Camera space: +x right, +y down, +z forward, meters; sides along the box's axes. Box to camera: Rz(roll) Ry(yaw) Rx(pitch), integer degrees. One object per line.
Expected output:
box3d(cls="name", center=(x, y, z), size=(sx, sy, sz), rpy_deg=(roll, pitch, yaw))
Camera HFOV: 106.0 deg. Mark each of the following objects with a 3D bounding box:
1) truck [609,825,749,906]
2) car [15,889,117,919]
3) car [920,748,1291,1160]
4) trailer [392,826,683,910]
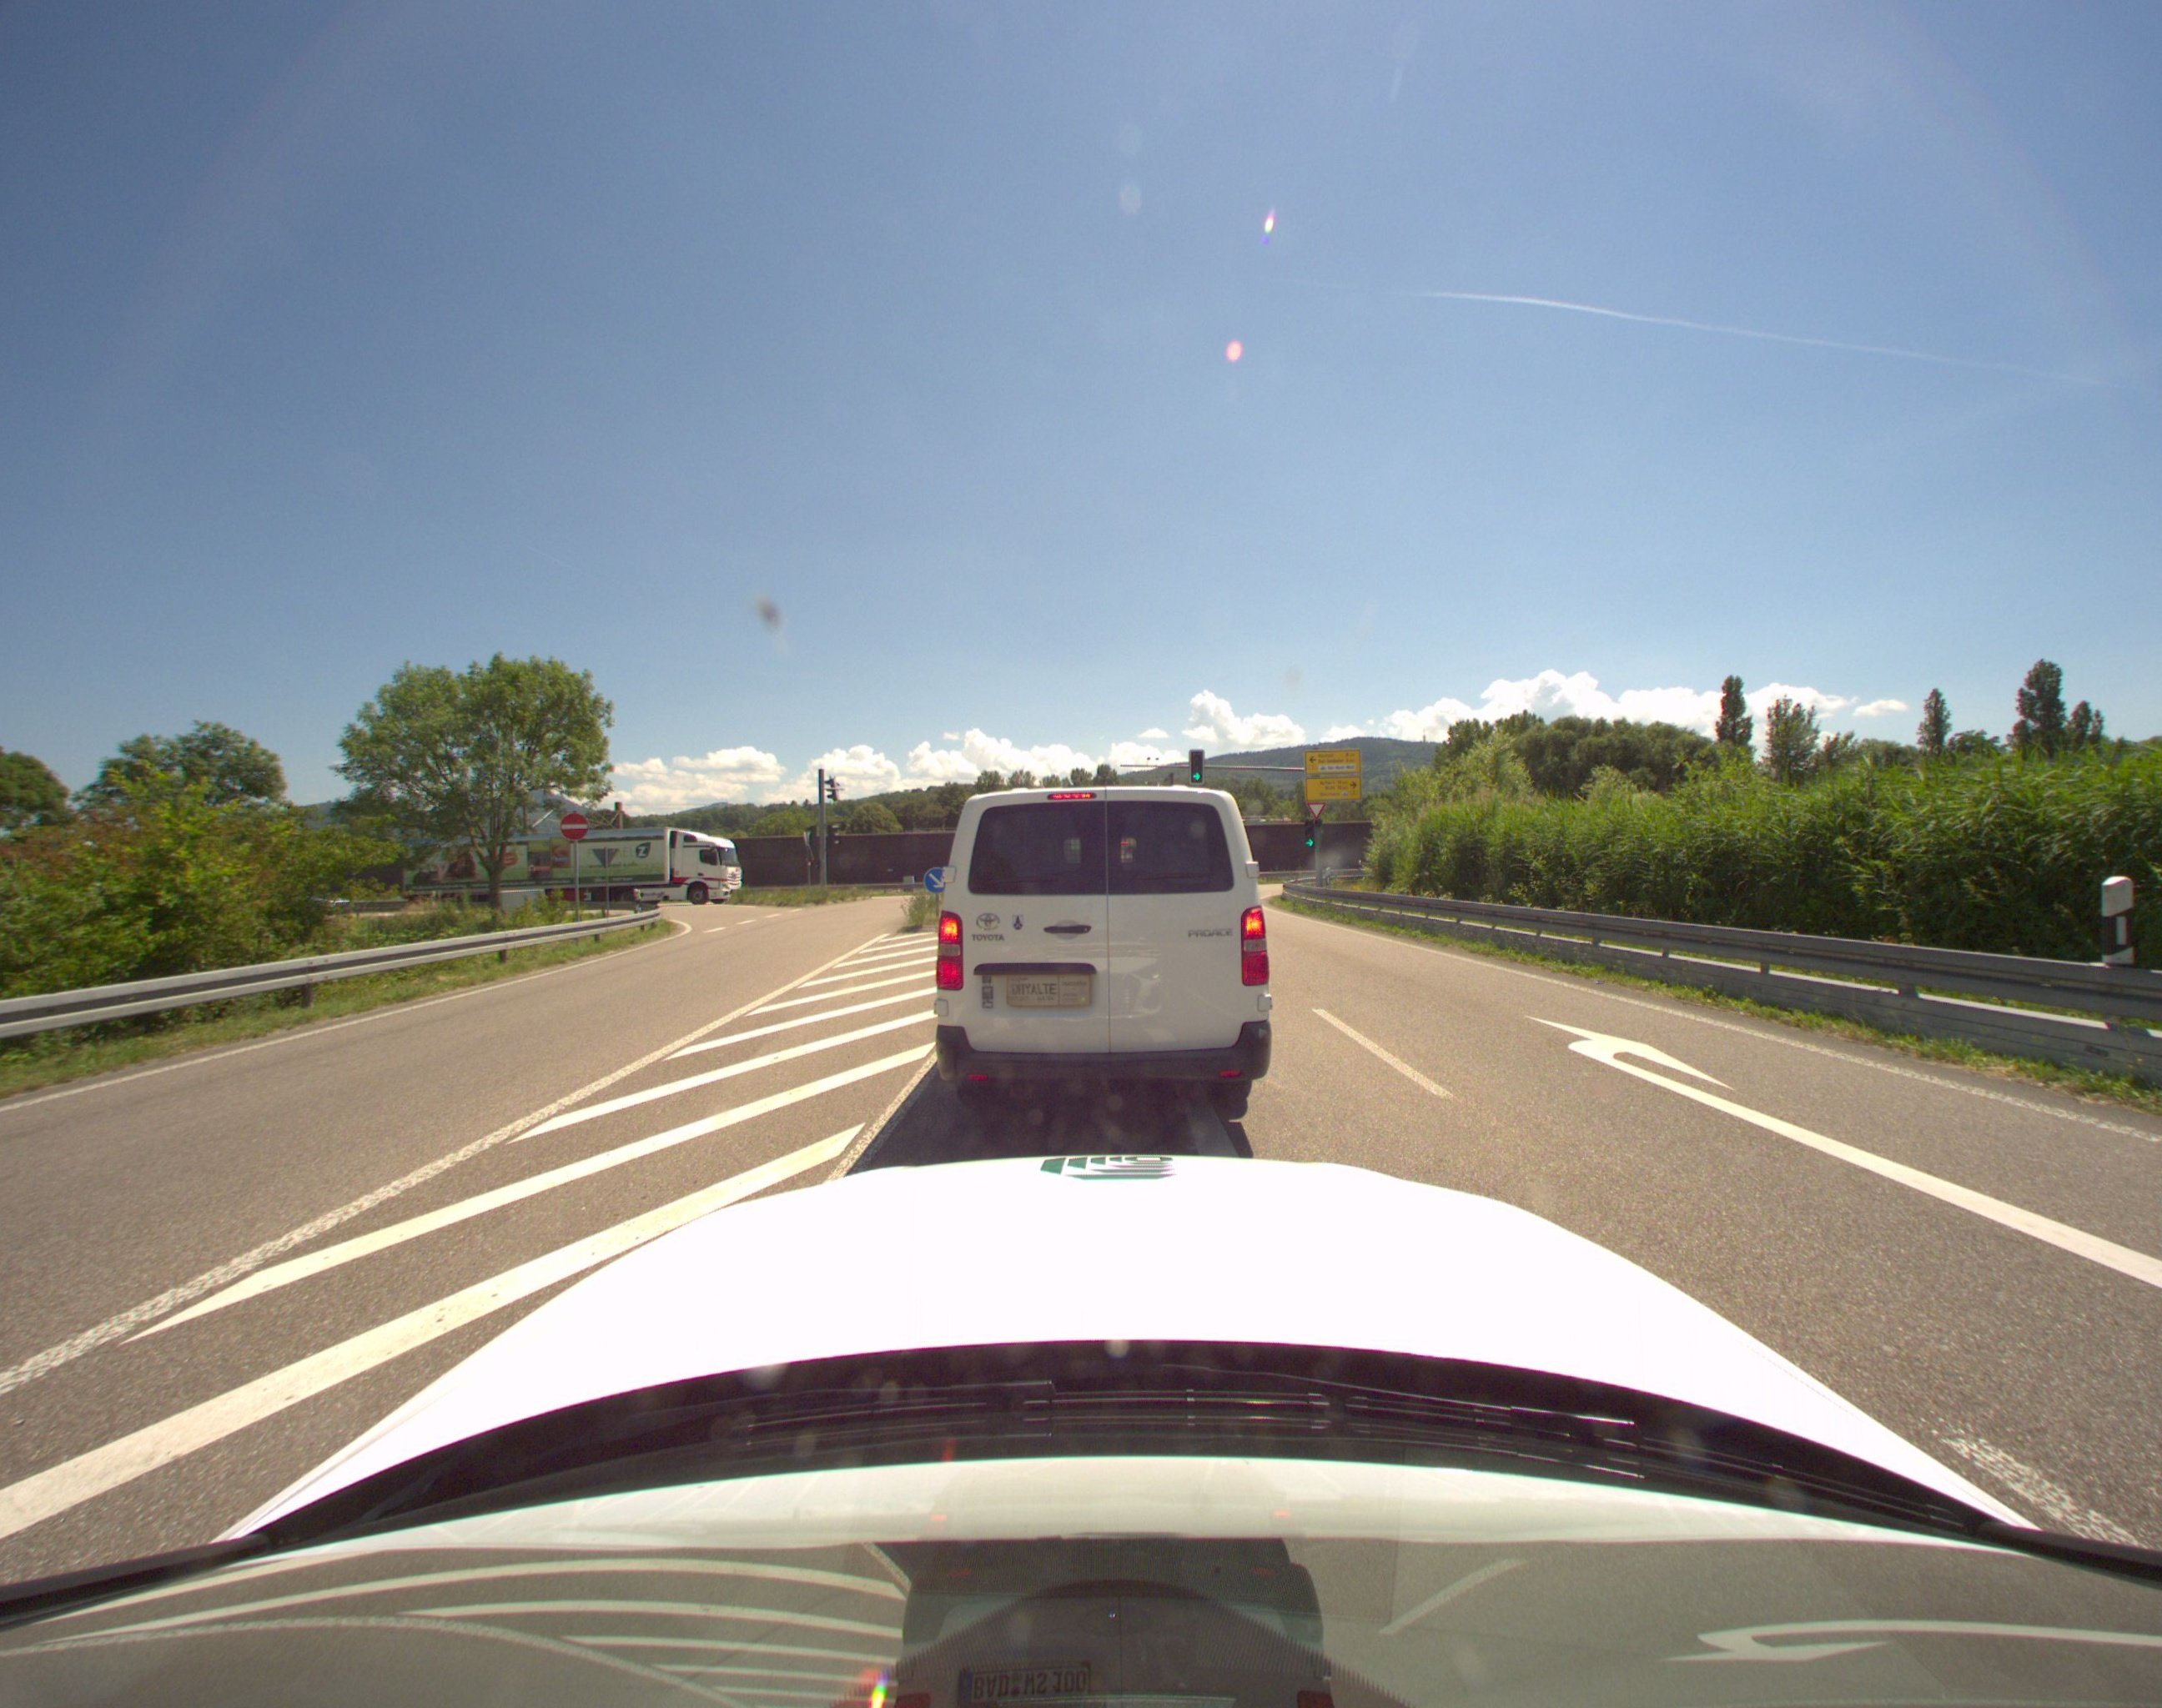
box3d(cls="truck", center=(-20.967, 0.594, 42.783), size=(5.746, 3.954, 3.062), rpy_deg=(-1, -1, 0))
box3d(cls="car", center=(-53.906, 2.645, 43.295), size=(3.462, 1.464, 1.554), rpy_deg=(-1, -1, 0))
box3d(cls="car", center=(0.176, 0.513, 6.050), size=(1.808, 2.017, 4.001), rpy_deg=(-1, -1, 2))
box3d(cls="trailer", center=(-28.225, 0.733, 42.726), size=(13.098, 3.954, 3.061), rpy_deg=(-1, -1, 0))
